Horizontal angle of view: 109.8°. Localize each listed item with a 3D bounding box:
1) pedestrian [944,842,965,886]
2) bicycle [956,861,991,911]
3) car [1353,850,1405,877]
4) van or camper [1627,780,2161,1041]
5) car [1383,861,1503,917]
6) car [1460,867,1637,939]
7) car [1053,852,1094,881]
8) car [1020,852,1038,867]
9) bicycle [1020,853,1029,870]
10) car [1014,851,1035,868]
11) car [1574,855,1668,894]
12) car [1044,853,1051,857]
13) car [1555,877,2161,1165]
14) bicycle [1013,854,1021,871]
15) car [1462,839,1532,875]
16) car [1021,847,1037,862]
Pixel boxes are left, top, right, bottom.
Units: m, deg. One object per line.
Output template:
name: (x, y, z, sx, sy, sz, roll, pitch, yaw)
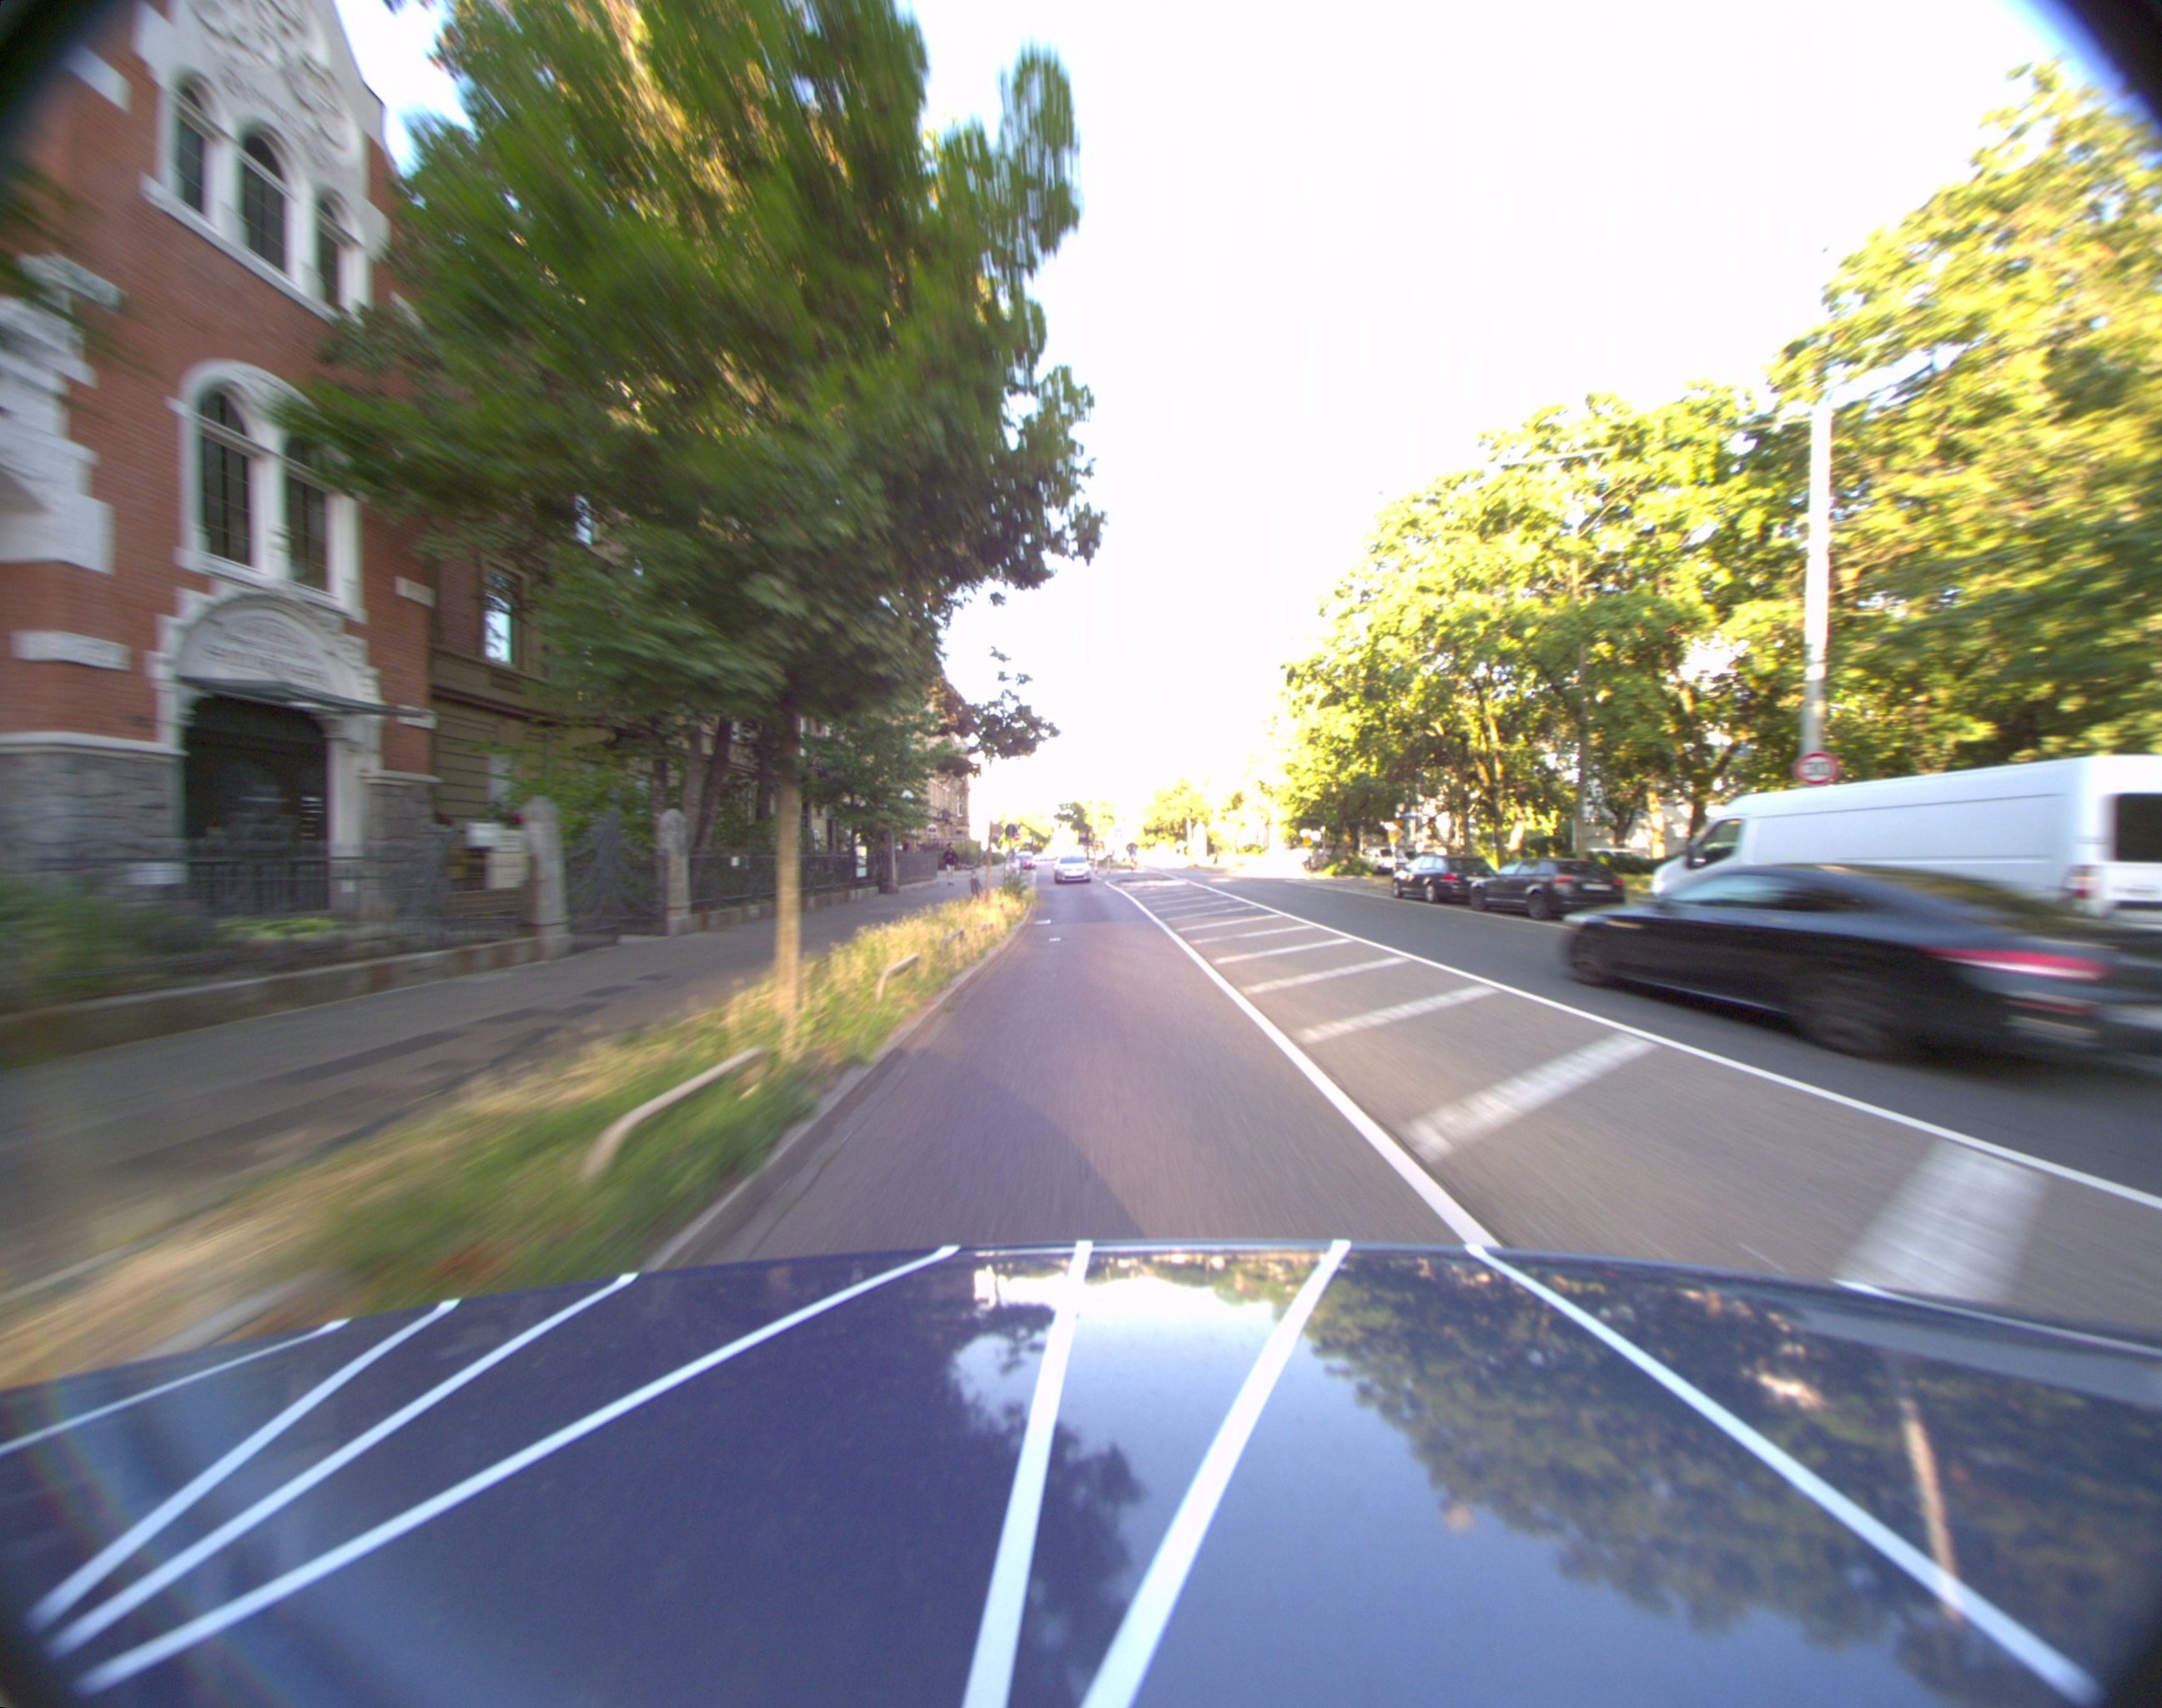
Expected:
pedestrian: (-5.344, 0.410, 32.015, 0.748, 1.768, 0.830, 3, 1, -11)
bicycle: (-2.712, 0.789, 19.335, 0.648, 1.160, 1.930, -2, 0, -3)
car: (20.511, 0.627, 52.434, 1.823, 1.784, 3.998, -1, 0, -3)
van or camper: (10.723, 0.542, 10.308, 2.096, 2.454, 6.305, 1, 0, 0)
car: (11.018, 1.005, 23.509, 1.627, 1.498, 4.544, 0, 0, 1)
car: (10.940, 1.065, 18.192, 1.632, 1.421, 4.242, 1, 0, 0)
car: (-0.427, 0.633, 39.855, 1.896, 1.455, 3.964, 1, 0, -4)
car: (-5.174, 0.548, 75.809, 1.682, 1.418, 3.675, 3, 0, -5)
bicycle: (-4.563, 0.608, 61.211, 0.567, 1.292, 2.263, 4, 2, -3)
car: (-5.252, 0.456, 71.098, 1.731, 1.456, 3.546, 3, 0, -2)
car: (28.746, 1.041, 40.615, 1.999, 1.871, 3.998, -2, 0, -3)
car: (-10.441, 0.323, 234.965, 1.948, 1.258, 4.161, 1, 0, -5)
car: (6.238, 0.977, 6.368, 1.770, 1.394, 4.545, 0, 0, 2)
bicycle: (-5.148, 0.664, 61.174, 0.567, 1.268, 2.263, 4, 2, -3)
car: (28.164, 0.177, 51.693, 2.220, 2.275, 5.099, -1, 0, 4)
car: (-7.355, 0.077, 107.970, 1.892, 1.907, 5.178, 3, 0, -2)
